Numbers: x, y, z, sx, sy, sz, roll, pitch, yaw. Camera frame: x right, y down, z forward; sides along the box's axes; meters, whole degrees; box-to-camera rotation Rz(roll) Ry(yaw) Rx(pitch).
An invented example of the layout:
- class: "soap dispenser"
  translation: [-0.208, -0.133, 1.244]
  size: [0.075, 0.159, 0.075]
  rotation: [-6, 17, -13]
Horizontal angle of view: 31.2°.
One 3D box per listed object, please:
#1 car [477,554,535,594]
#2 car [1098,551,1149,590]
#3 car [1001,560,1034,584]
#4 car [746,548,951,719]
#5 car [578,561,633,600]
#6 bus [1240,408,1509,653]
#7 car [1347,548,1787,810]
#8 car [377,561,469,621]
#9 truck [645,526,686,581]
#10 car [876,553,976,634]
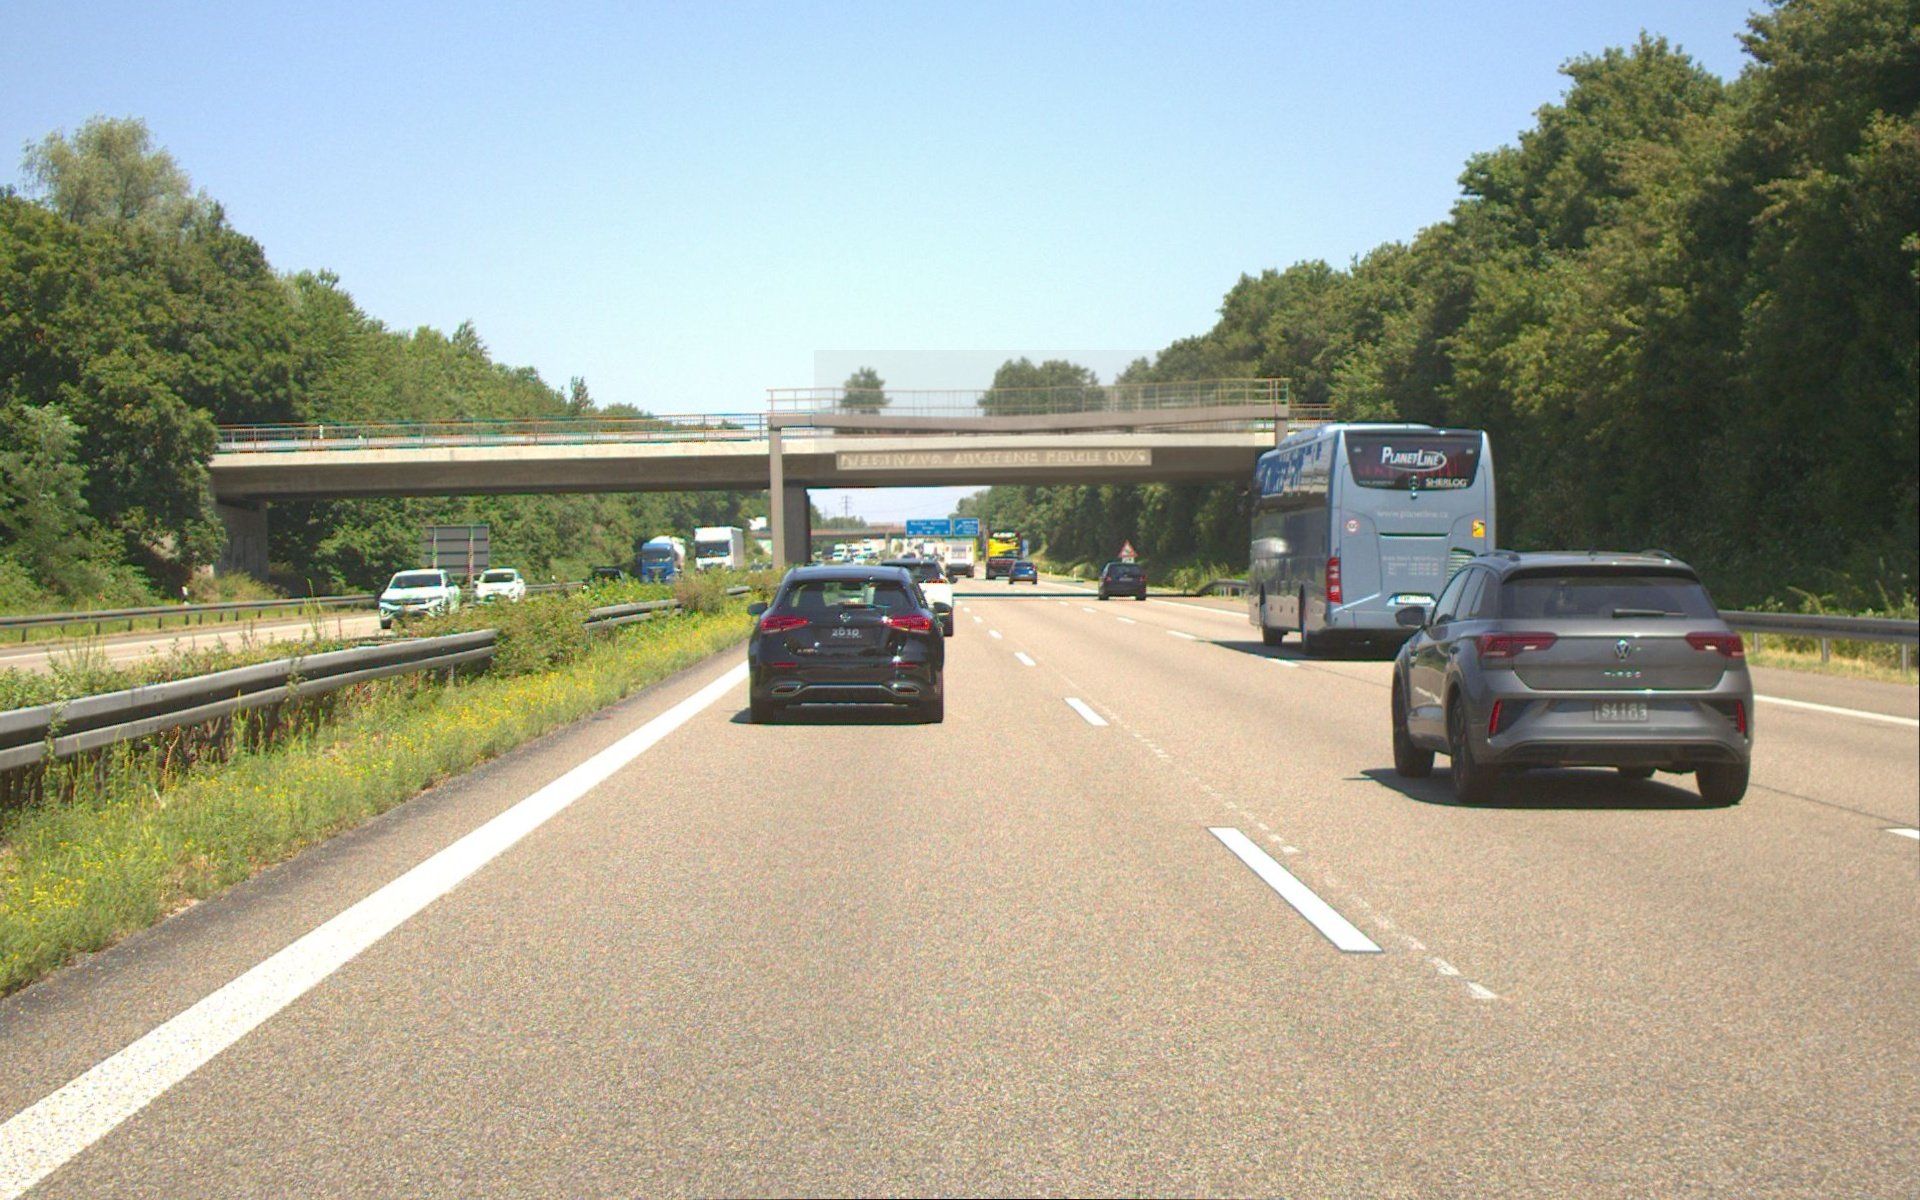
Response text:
- class: "car"
  translation: [-19.031, -1.117, 144.209]
  size: [1.899, 1.588, 4.743]
  rotation: [-2, 1, -2]
- class: "car"
  translation: [6.311, -1.159, 133.180]
  size: [1.789, 1.456, 3.949]
  rotation: [0, 1, 0]
- class: "car"
  translation: [3.794, -1.880, 227.861]
  size: [2.081, 1.527, 4.241]
  rotation: [0, 1, 0]
- class: "car"
  translation: [-1.046, 0.264, 32.459]
  size: [1.799, 1.497, 4.242]
  rotation: [0, 1, -2]
- class: "car"
  translation: [-15.501, -0.869, 150.505]
  size: [1.899, 1.527, 5.033]
  rotation: [-4, 1, -2]
- class: "bus"
  translation: [6.590, -1.095, 56.698]
  size: [2.802, 3.584, 12.475]
  rotation: [0, 1, -1]
- class: "car"
  translation: [3.825, 0.428, 22.515]
  size: [1.899, 1.527, 4.760]
  rotation: [0, 1, -2]
- class: "car"
  translation: [-14.553, -0.266, 93.358]
  size: [1.807, 1.478, 4.417]
  rotation: [-3, 1, -1]
- class: "truck"
  translation: [-21.035, -3.316, 245.532]
  size: [2.359, 3.762, 5.252]
  rotation: [-2, 1, -1]
- class: "car"
  translation: [-0.714, -0.154, 68.516]
  size: [1.899, 1.527, 4.242]
  rotation: [0, 1, -2]
